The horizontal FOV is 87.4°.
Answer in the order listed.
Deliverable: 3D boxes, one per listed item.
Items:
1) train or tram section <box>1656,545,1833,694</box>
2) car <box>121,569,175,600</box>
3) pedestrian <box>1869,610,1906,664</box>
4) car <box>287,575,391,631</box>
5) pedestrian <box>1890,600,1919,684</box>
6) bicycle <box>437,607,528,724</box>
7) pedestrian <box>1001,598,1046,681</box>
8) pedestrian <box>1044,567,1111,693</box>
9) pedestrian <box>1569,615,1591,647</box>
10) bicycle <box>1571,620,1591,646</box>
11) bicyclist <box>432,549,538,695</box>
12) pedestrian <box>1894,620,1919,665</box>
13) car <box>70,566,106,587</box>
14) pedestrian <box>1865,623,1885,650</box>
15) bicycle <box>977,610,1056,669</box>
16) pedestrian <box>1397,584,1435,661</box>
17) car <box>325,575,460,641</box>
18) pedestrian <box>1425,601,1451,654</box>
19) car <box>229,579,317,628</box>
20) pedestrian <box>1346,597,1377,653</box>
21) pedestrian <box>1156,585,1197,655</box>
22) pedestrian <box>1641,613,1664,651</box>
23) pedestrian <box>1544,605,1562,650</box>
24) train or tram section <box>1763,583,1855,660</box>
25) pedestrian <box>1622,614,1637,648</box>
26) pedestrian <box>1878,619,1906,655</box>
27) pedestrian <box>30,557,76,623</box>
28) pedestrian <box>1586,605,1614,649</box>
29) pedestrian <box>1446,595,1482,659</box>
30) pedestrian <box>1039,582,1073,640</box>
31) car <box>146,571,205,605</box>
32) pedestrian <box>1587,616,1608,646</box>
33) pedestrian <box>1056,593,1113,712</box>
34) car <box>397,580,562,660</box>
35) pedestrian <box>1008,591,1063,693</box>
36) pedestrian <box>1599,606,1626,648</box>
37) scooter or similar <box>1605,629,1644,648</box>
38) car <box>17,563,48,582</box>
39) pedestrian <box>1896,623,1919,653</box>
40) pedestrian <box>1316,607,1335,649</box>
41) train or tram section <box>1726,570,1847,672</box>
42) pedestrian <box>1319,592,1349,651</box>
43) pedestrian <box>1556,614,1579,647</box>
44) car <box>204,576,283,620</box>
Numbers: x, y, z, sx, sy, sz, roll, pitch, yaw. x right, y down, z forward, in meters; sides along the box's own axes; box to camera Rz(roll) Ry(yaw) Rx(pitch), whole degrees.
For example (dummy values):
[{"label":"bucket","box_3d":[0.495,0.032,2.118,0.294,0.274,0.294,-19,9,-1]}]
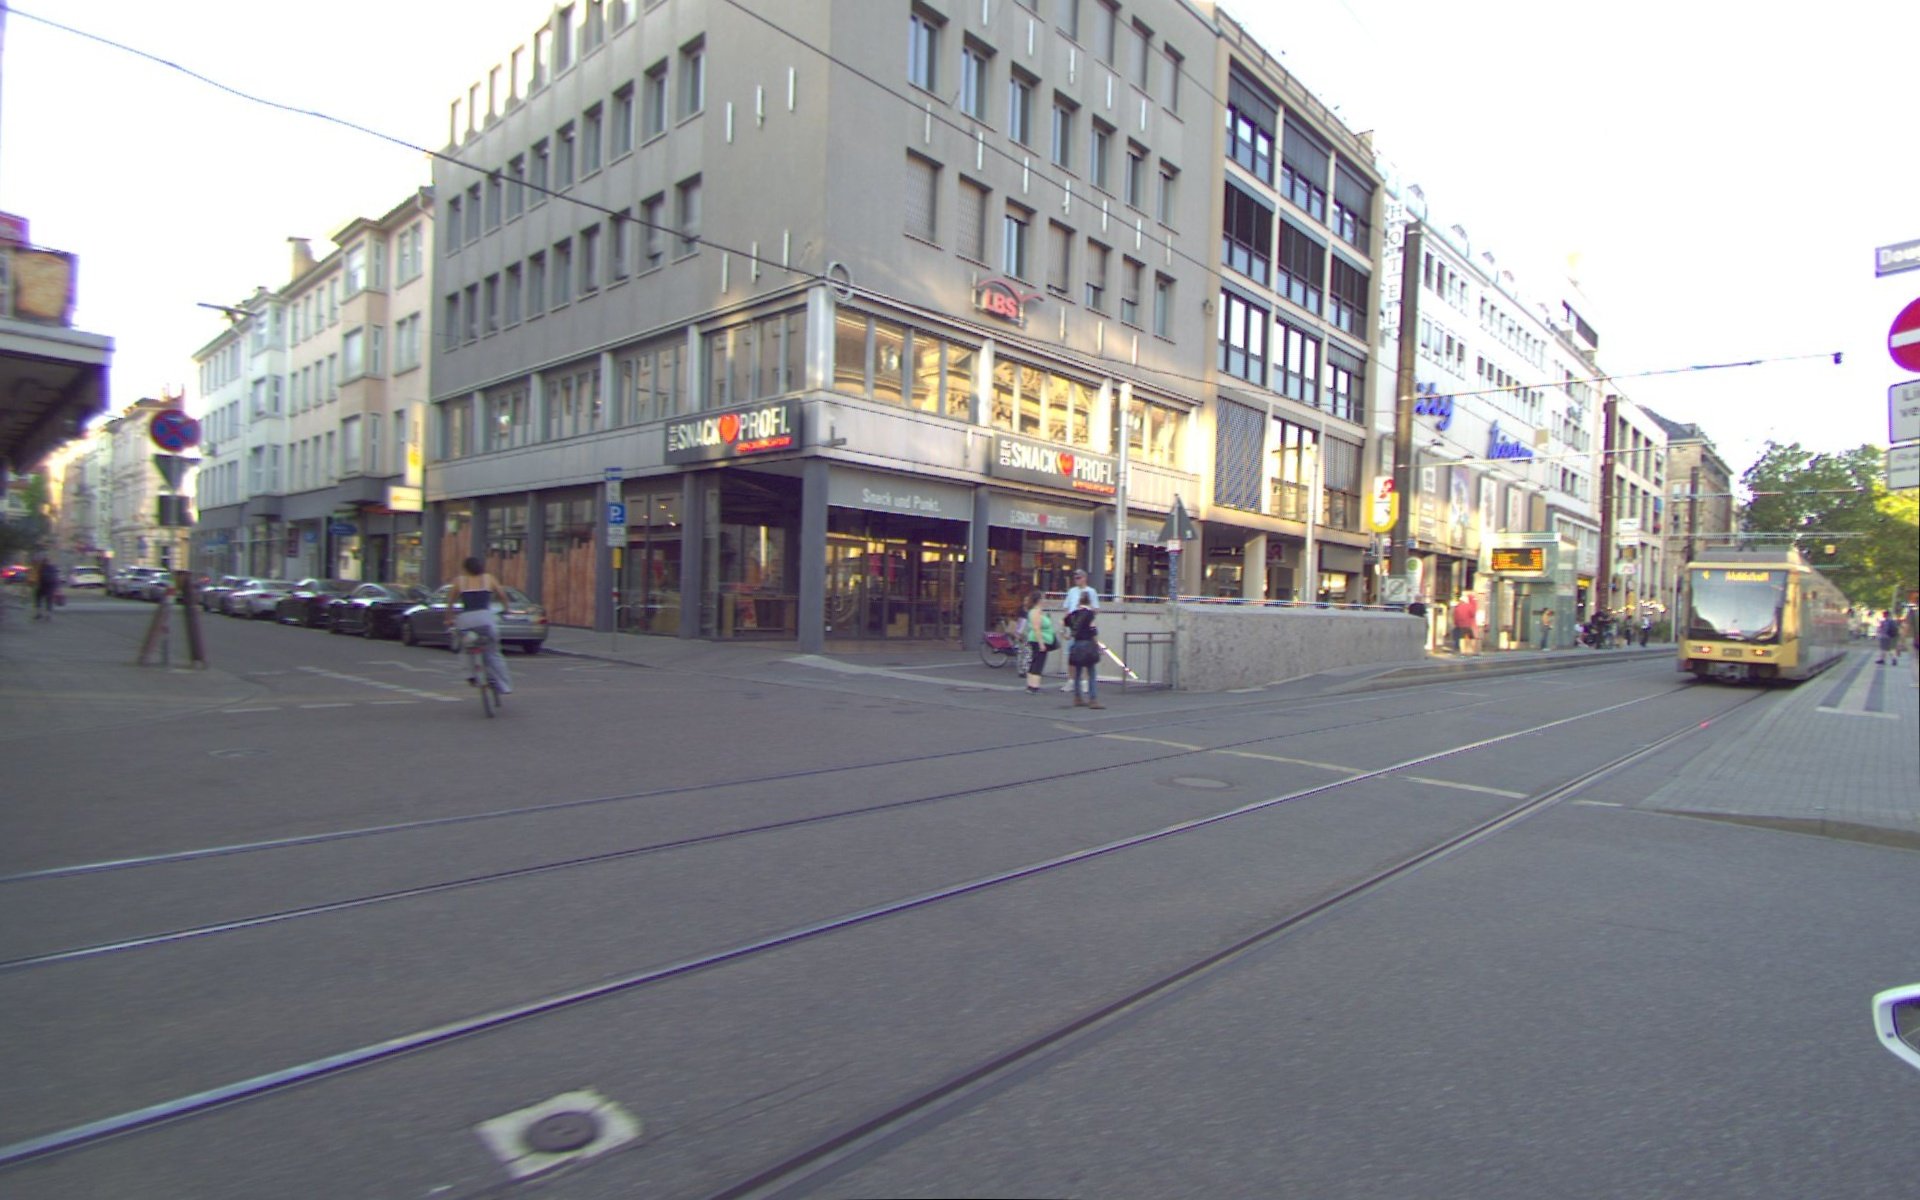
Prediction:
[{"label":"train or tram section","box_3d":[22.954,0.541,28.898,2.770,3.363,14.425,2,0,43]},{"label":"car","box_3d":[-42.692,-0.819,52.766,1.789,1.530,3.946,3,0,-45]},{"label":"pedestrian","box_3d":[32.491,1.294,35.212,0.723,1.847,0.818,2,0,29]},{"label":"car","box_3d":[-18.762,0.080,30.285,1.789,1.530,3.946,3,0,-45]},{"label":"pedestrian","box_3d":[20.356,0.902,21.313,0.707,1.748,0.708,2,-1,29]},{"label":"bicycle","box_3d":[-5.221,0.664,11.068,0.806,1.088,2.100,2,1,-24]},{"label":"pedestrian","box_3d":[1.142,0.714,18.219,0.672,1.453,0.555,2,0,-8]},{"label":"pedestrian","box_3d":[1.885,0.466,16.105,0.763,1.951,0.707,2,-1,36]},{"label":"pedestrian","box_3d":[27.765,1.373,44.987,0.699,1.397,0.716,2,-1,43]},{"label":"bicycle","box_3d":[28.898,1.506,46.762,0.426,1.157,1.618,2,0,19]},{"label":"bicyclist","box_3d":[-5.221,0.232,11.095,0.986,1.522,0.852,2,1,-24]},{"label":"pedestrian","box_3d":[35.087,1.564,36.936,0.782,1.600,0.766,2,0,-17]},{"label":"car","box_3d":[-66.883,-1.804,77.018,1.789,1.530,3.946,3,0,-45]},{"label":"pedestrian","box_3d":[57.431,2.286,63.046,0.787,1.683,0.761,1,1,-37]},{"label":"bicycle","box_3d":[1.162,0.783,20.377,1.786,1.122,0.494,0,1,-42]},{"label":"pedestrian","box_3d":[11.749,0.581,25.870,0.705,1.950,0.706,2,-1,39]},{"label":"car","box_3d":[-14.691,0.188,25.915,4.073,1.530,1.791,2,0,42]},{"label":"pedestrian","box_3d":[14.738,0.839,30.962,0.595,1.609,0.626,2,-1,34]},{"label":"car","box_3d":[-23.736,0.098,34.638,1.789,1.530,3.946,3,0,-45]},{"label":"pedestrian","box_3d":[11.806,0.727,29.552,0.616,1.609,0.605,2,0,2]},{"label":"pedestrian","box_3d":[5.528,0.514,25.674,0.705,1.748,0.706,2,-1,42]},{"label":"pedestrian","box_3d":[32.845,1.502,47.622,0.765,1.748,0.705,2,-1,44]},{"label":"pedestrian","box_3d":[21.979,1.011,37.215,0.504,1.639,0.504,2,-1,35]},{"label":"train or tram section","box_3d":[42.510,1.059,50.050,2.770,3.363,14.425,2,0,43]},{"label":"pedestrian","box_3d":[35.341,1.619,53.030,0.593,1.750,0.606,2,-1,37]},{"label":"pedestrian","box_3d":[44.079,1.755,47.510,0.787,1.683,0.762,1,1,-34]},{"label":"pedestrian","box_3d":[-23.613,-0.249,26.139,0.865,1.683,0.919,1,1,-43]},{"label":"pedestrian","box_3d":[26.237,1.115,41.172,0.695,1.748,0.776,2,0,13]},{"label":"pedestrian","box_3d":[13.986,0.756,27.860,0.705,1.720,0.783,2,-1,38]},{"label":"pedestrian","box_3d":[2.933,0.333,30.824,0.705,1.748,0.706,2,-1,42]},{"label":"car","box_3d":[-38.068,-0.596,48.704,1.789,1.530,3.946,3,0,-45]},{"label":"pedestrian","box_3d":[30.033,1.465,47.326,0.699,1.397,0.716,2,-1,43]},{"label":"pedestrian","box_3d":[1.698,0.710,13.786,0.673,1.562,0.605,2,0,2]},{"label":"car","box_3d":[-10.540,0.394,21.922,4.073,1.530,1.791,2,0,42]},{"label":"pedestrian","box_3d":[1.156,0.641,15.445,0.595,1.513,0.553,2,-1,36]},{"label":"pedestrian","box_3d":[27.517,1.141,42.341,0.695,1.748,0.776,2,0,15]},{"label":"scooter or similar","box_3d":[30.876,1.793,46.683,1.497,0.842,0.558,2,-1,-8]},{"label":"car","box_3d":[-79.751,-2.387,86.387,1.789,1.530,3.946,3,0,-45]},{"label":"pedestrian","box_3d":[54.387,2.162,57.646,0.761,1.683,0.787,1,1,-35]},{"label":"pedestrian","box_3d":[13.771,1.053,37.865,0.501,1.567,0.516,2,-1,36]},{"label":"train or tram section","box_3d":[32.747,0.794,39.485,2.770,3.363,14.425,2,0,43]},{"label":"pedestrian","box_3d":[11.192,0.638,30.051,0.616,1.748,0.605,2,0,0]},{"label":"pedestrian","box_3d":[26.268,1.313,43.429,0.699,1.397,0.716,2,-1,43]},{"label":"car","box_3d":[-27.410,-0.079,38.384,1.789,1.530,3.946,3,0,-45]}]
